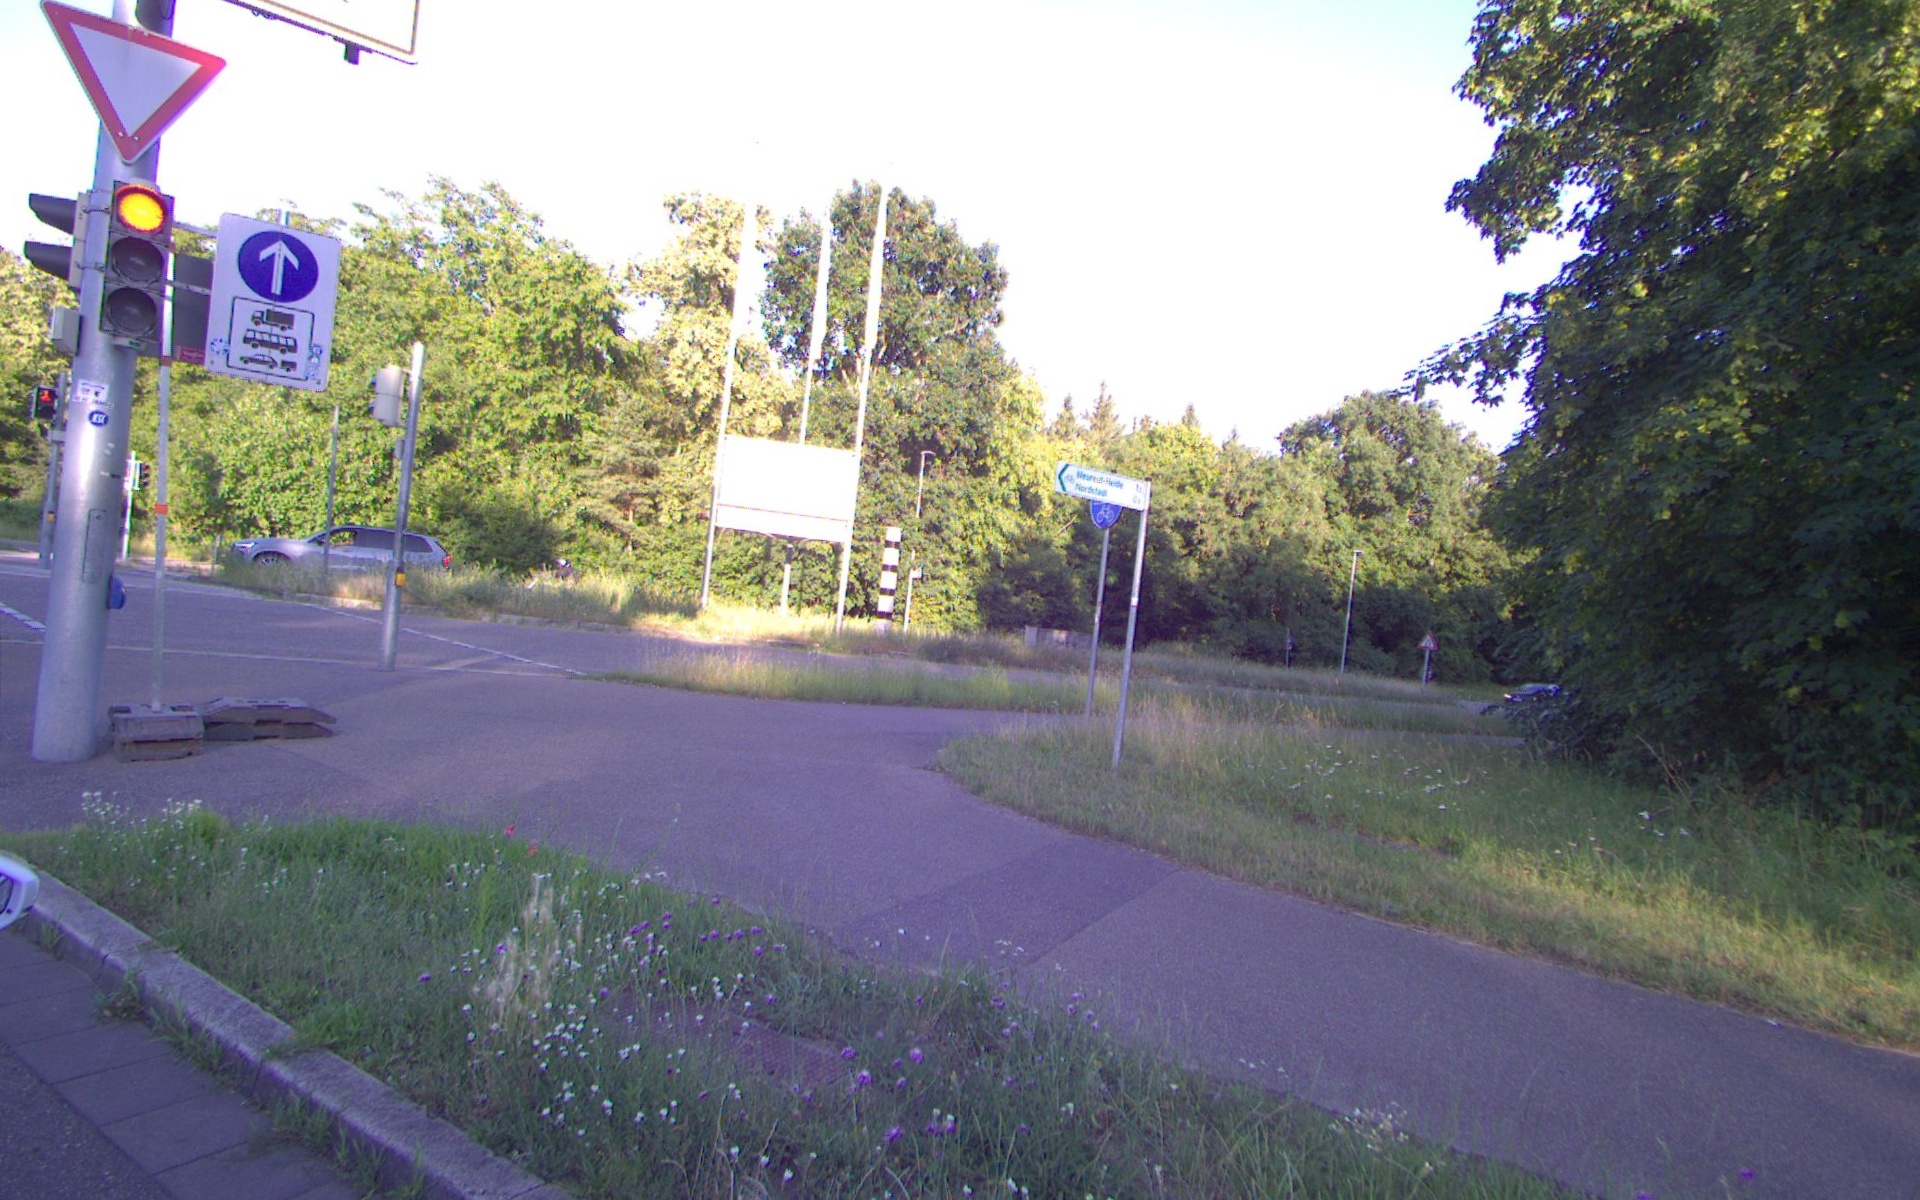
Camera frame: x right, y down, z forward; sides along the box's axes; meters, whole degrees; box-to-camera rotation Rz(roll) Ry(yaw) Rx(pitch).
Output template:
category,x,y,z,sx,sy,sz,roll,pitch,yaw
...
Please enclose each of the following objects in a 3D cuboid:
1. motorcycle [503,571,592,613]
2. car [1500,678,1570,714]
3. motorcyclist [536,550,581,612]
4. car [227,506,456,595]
category,x,y,z,sx,sy,sz,roll,pitch,yaw
motorcycle,-11.486,-0.218,28.024,2.133,0.921,0.655,7,0,-37
car,31.013,5.191,54.237,3.840,1.507,1.754,8,-1,-36
motorcyclist,-11.240,-0.532,28.174,0.881,1.614,0.648,6,0,-37
car,-15.910,-1.230,25.993,4.790,1.618,1.980,7,0,-37
